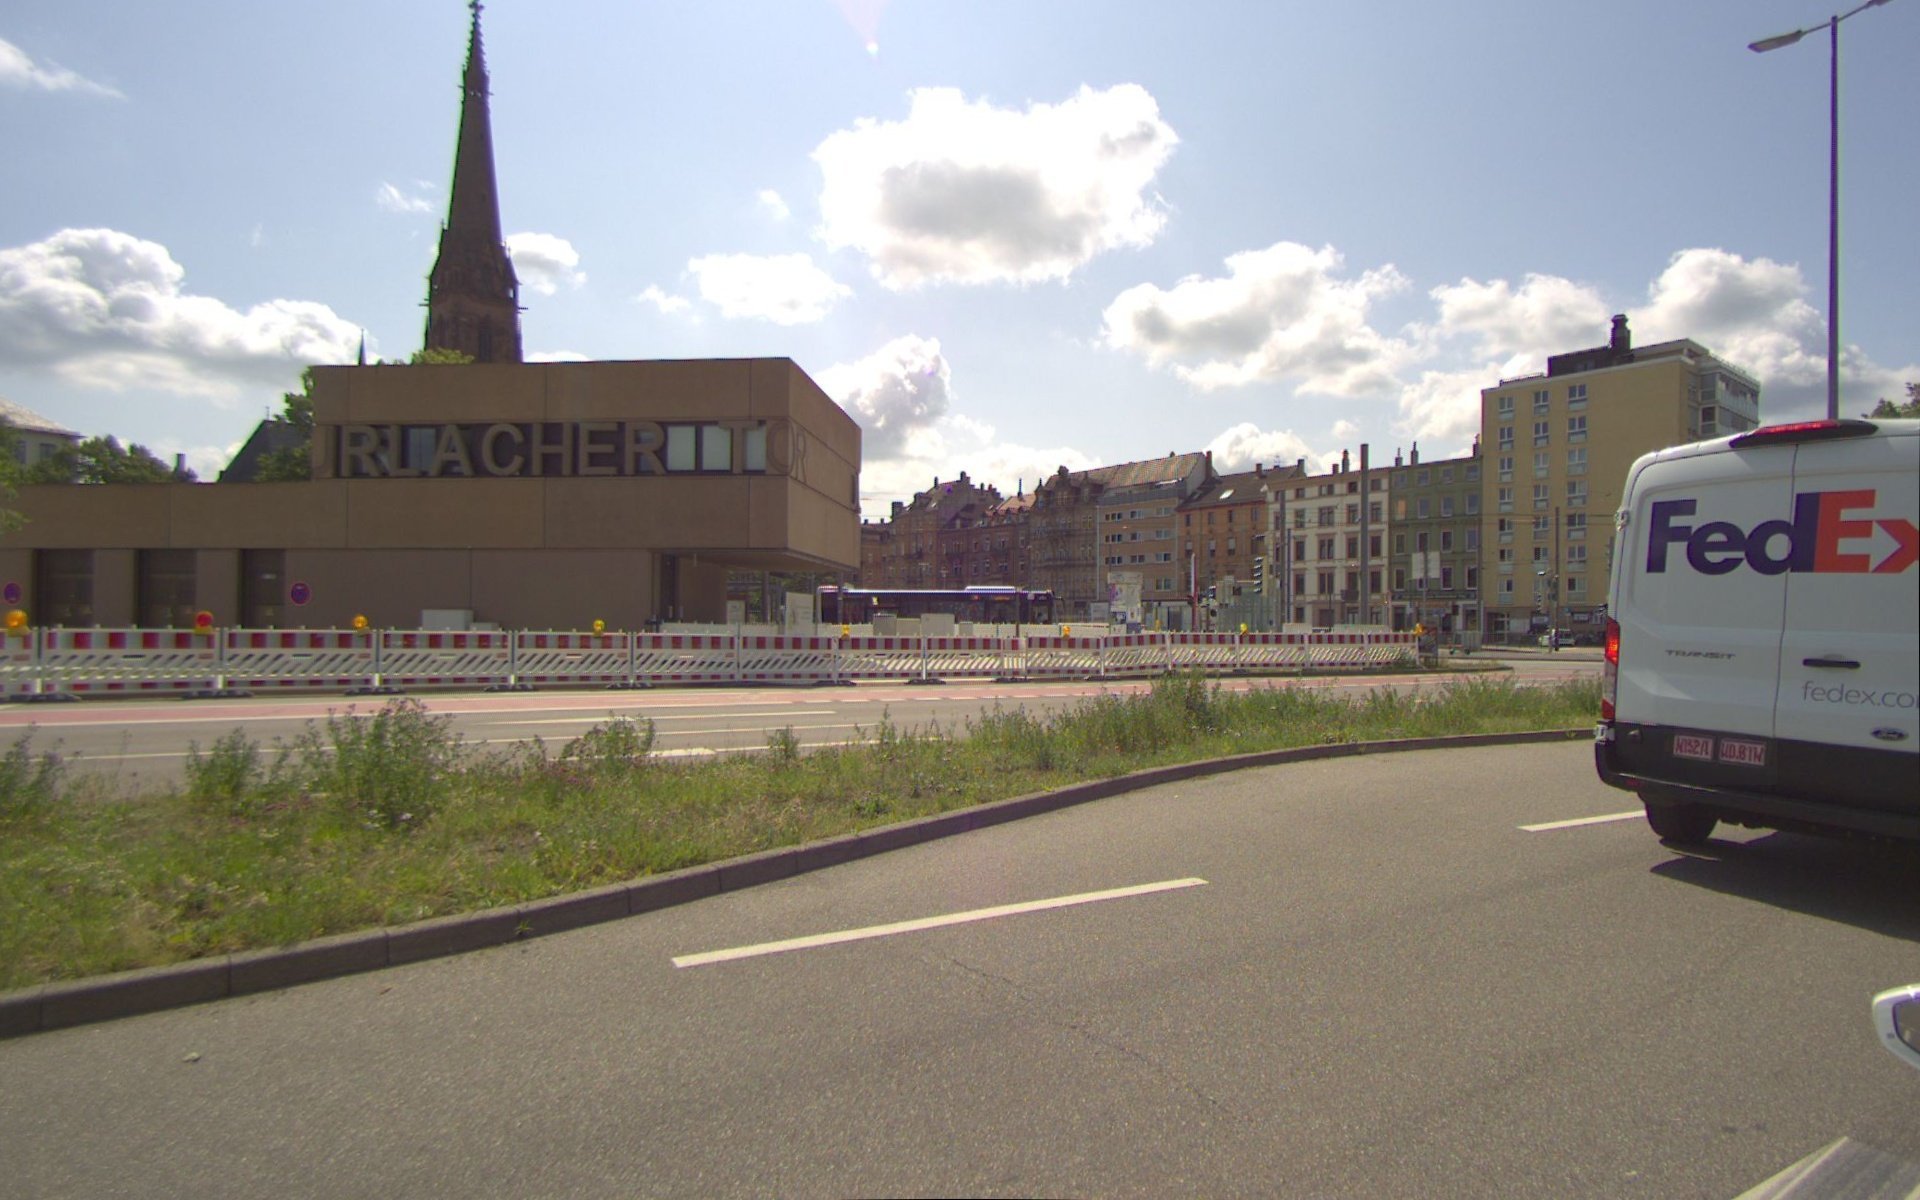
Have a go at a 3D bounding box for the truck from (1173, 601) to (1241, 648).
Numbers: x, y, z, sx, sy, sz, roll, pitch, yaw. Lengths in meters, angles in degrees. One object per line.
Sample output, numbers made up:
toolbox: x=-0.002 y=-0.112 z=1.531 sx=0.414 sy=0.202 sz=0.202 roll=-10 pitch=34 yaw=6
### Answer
truck: x=22.099 y=2.148 z=90.017 sx=2.685 sy=4.022 sz=5.389 roll=3 pitch=-1 yaw=-38

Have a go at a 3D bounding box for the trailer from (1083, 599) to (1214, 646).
trailer: x=17.650 y=2.069 z=95.683 sx=2.685 sy=4.021 sz=13.888 roll=3 pitch=-1 yaw=-38

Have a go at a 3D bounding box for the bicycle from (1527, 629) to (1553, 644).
bicycle: x=50.518 y=3.162 z=87.484 sx=0.522 sy=1.162 sz=1.929 roll=2 pitch=-1 yaw=-33

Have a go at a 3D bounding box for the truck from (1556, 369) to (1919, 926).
truck: x=6.773 y=0.311 z=6.917 sx=5.852 sy=2.675 sz=2.125 roll=2 pitch=-1 yaw=-32

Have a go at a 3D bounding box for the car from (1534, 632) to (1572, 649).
car: x=46.597 y=3.163 z=78.994 sx=1.625 sy=1.338 sz=3.359 roll=0 pitch=-1 yaw=13

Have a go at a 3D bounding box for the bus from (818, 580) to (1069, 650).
bus: x=-0.737 y=0.707 z=49.396 sx=12.019 sy=2.897 sz=2.597 roll=2 pitch=-1 yaw=5

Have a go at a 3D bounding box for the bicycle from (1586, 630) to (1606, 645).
bicycle: x=52.999 y=3.125 z=83.726 sx=0.501 sy=1.162 sz=2.136 roll=2 pitch=-1 yaw=8
